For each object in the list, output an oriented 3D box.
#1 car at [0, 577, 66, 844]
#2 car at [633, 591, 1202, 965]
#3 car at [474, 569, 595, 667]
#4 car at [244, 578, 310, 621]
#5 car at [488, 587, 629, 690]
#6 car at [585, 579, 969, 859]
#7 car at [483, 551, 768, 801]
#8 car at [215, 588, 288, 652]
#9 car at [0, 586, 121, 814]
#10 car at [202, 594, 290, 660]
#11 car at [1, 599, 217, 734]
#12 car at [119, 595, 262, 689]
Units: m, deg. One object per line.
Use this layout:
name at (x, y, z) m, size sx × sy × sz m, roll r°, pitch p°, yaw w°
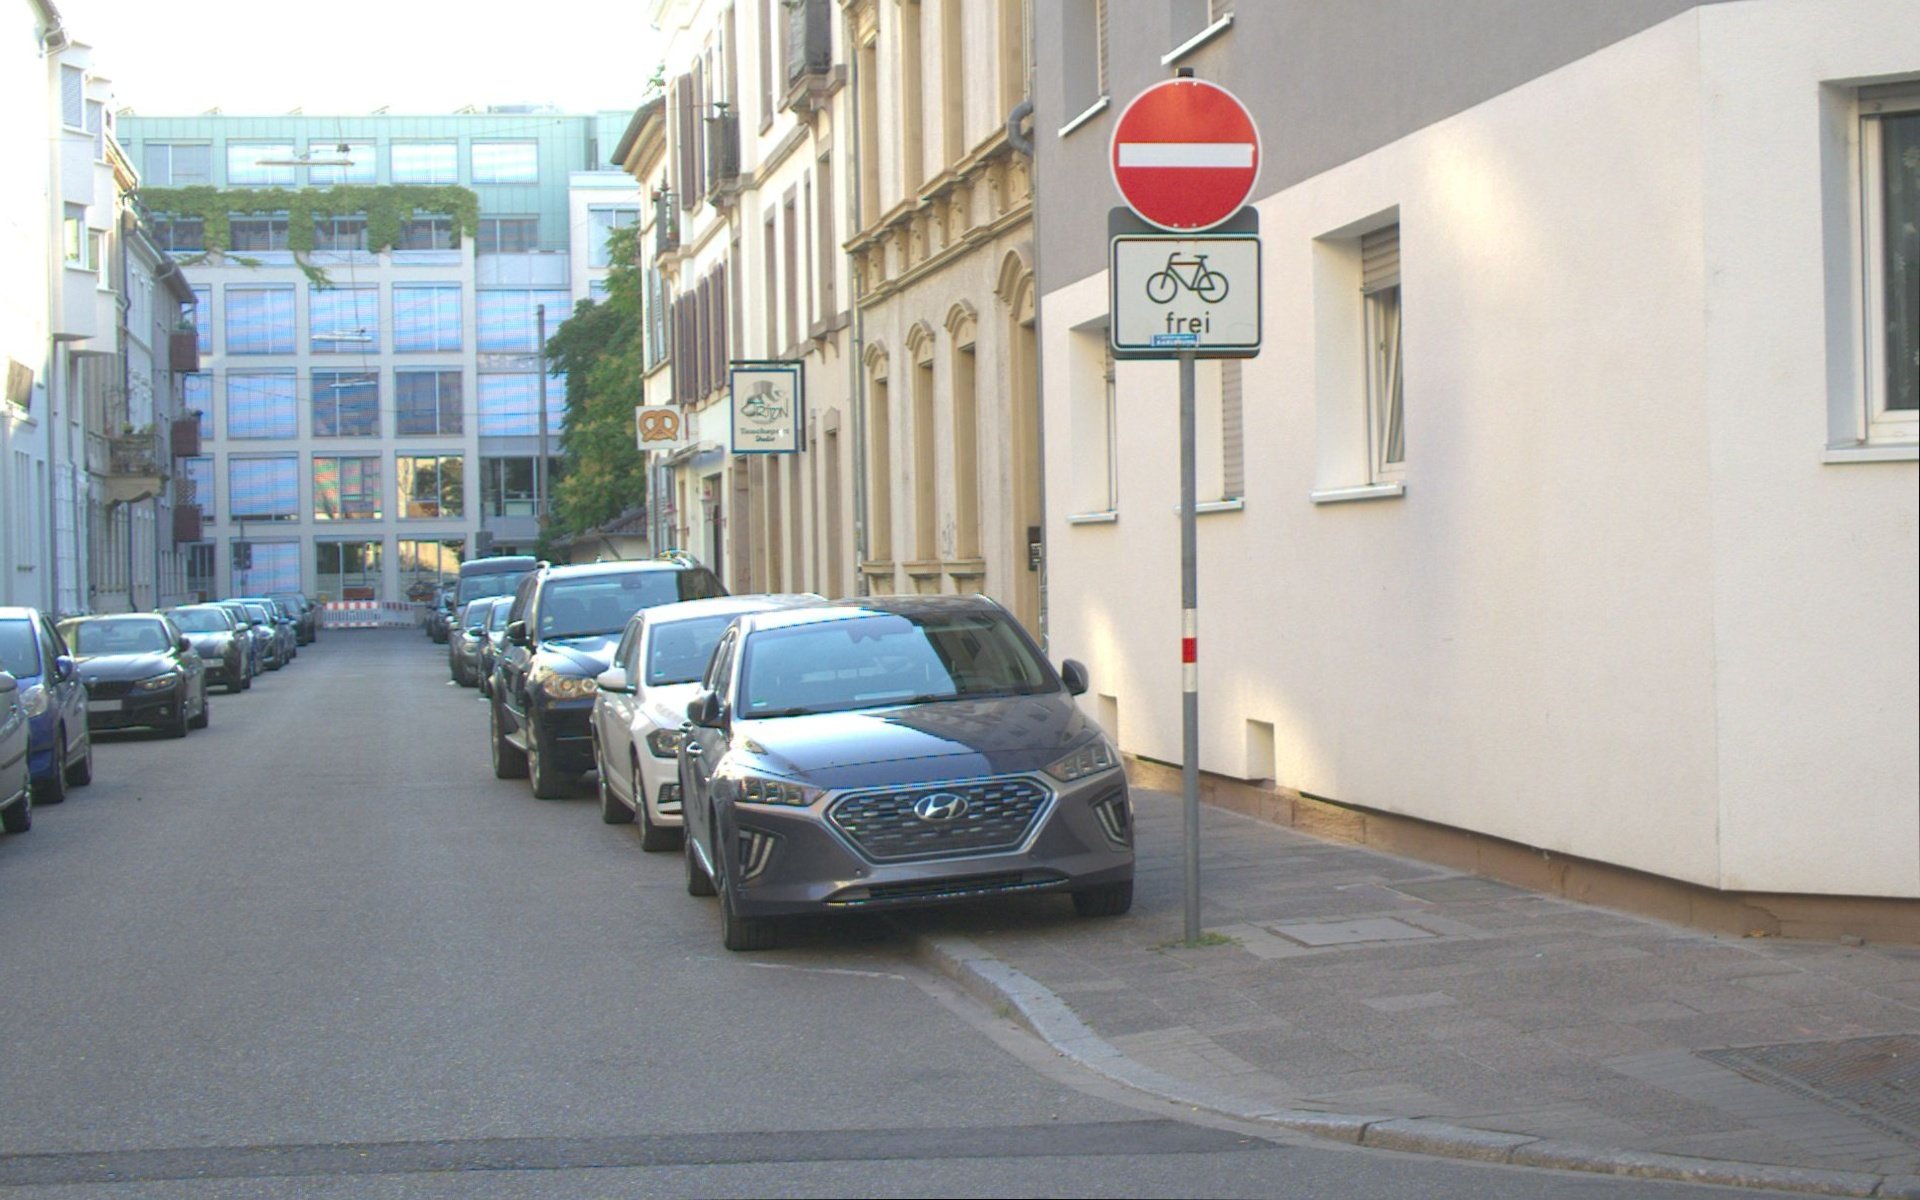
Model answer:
car at (-6.687, 0.664, 21.553) m, size 1.624 × 1.571 × 3.755 m, roll -1°, pitch 1°, yaw -8°
car at (-0.334, 0.703, 15.709) m, size 1.937 × 1.367 × 3.790 m, roll -3°, pitch 1°, yaw -10°
car at (-7.761, 0.303, 62.444) m, size 1.993 × 1.694 × 4.001 m, roll -1°, pitch 1°, yaw -10°
car at (-21.629, -0.028, 108.926) m, size 1.993 × 1.305 × 3.883 m, roll -1°, pitch 1°, yaw -11°
car at (-6.094, 0.548, 51.886) m, size 1.993 × 1.446 × 4.001 m, roll -1°, pitch 1°, yaw -8°
car at (-1.254, 0.668, 21.711) m, size 1.963 × 1.552 × 3.890 m, roll -1°, pitch 1°, yaw -10°
car at (-2.699, 0.528, 26.972) m, size 1.893 × 1.778 × 4.001 m, roll -1°, pitch 1°, yaw -10°
car at (-16.278, 0.442, 79.032) m, size 1.585 × 1.405 × 3.391 m, roll -1°, pitch 1°, yaw -12°
car at (-7.771, 0.743, 27.196) m, size 1.785 × 1.653 × 3.817 m, roll -1°, pitch 1°, yaw -8°
car at (-15.135, 0.560, 73.011) m, size 1.707 × 1.298 × 4.001 m, roll -1°, pitch 1°, yaw -10°
car at (-9.495, 0.700, 38.656) m, size 1.993 × 1.350 × 4.430 m, roll -1°, pitch 1°, yaw -9°
car at (-12.513, 0.659, 56.109) m, size 2.172 × 1.413 × 4.001 m, roll -1°, pitch 1°, yaw -11°
